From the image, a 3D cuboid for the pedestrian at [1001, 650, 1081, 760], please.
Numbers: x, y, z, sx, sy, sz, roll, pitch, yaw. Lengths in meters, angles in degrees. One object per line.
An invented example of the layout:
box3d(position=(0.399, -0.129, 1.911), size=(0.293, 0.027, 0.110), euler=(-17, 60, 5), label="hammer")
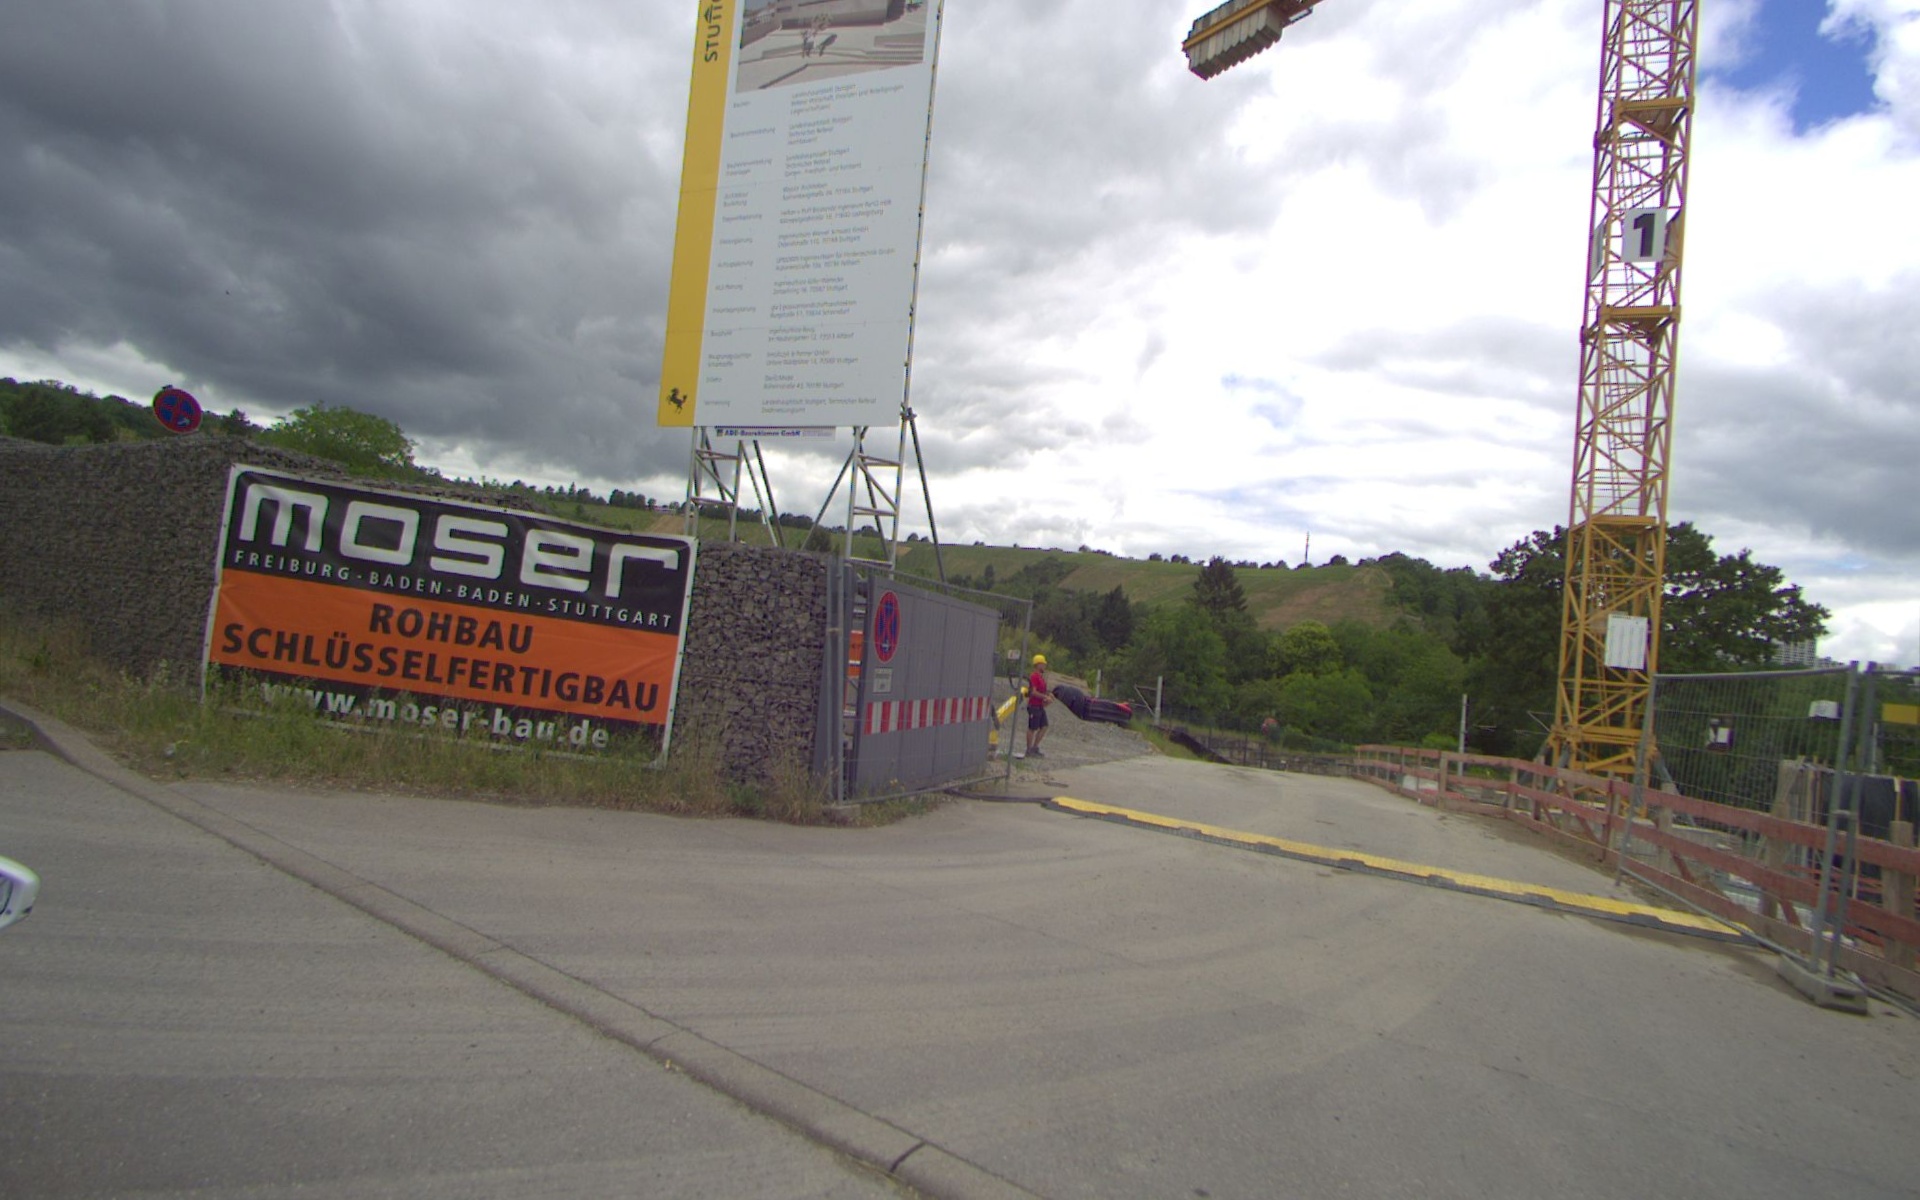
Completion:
box3d(position=(1.555, 1.993, 19.164), size=(1.134, 1.922, 0.828), euler=(6, -3, 20), label="pedestrian")
